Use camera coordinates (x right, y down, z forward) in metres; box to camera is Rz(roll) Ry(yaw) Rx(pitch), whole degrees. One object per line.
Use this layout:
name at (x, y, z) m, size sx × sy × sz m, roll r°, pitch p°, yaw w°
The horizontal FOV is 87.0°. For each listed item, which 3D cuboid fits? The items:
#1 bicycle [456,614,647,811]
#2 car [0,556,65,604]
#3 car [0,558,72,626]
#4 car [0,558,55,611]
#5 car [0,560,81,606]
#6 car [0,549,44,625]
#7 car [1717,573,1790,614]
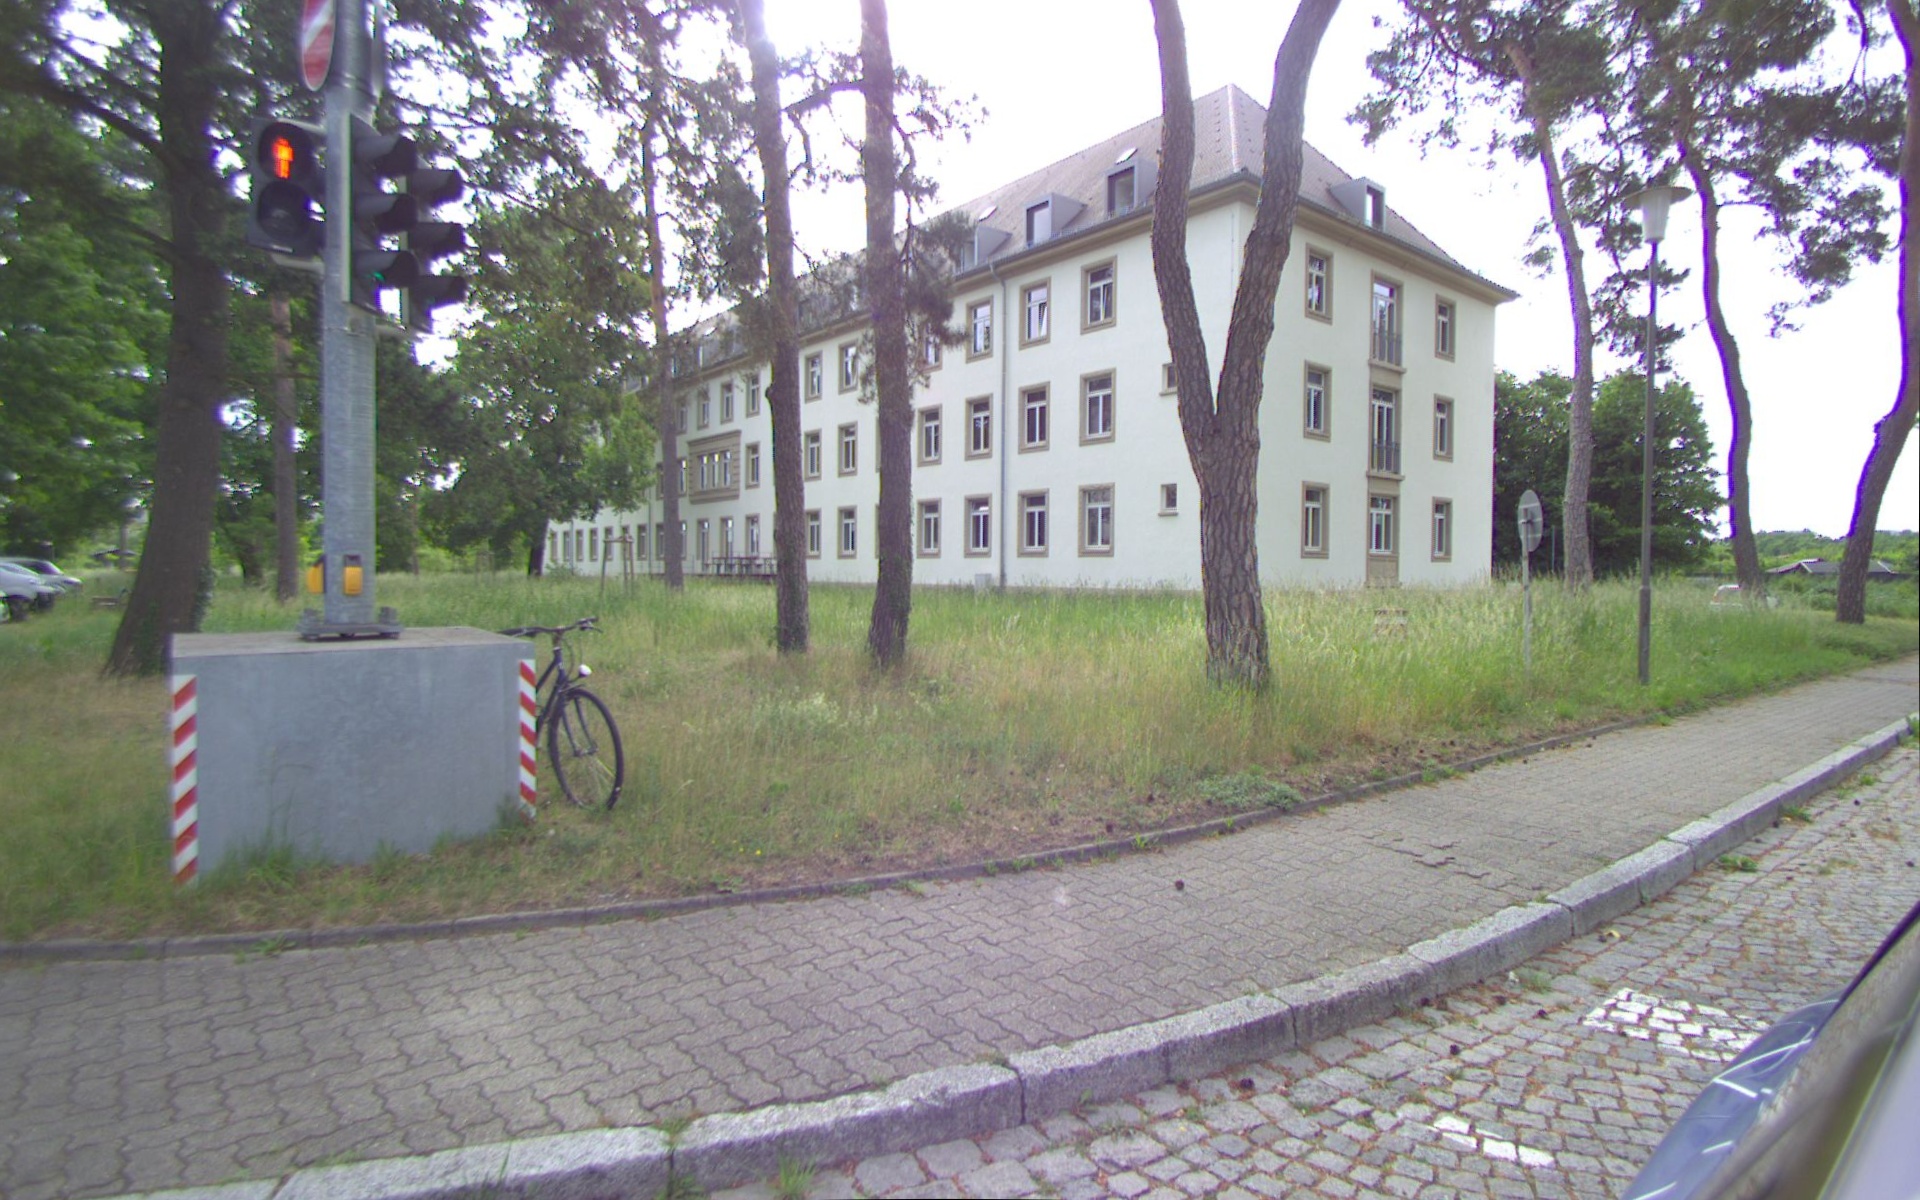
bicycle at (-2.382, 0.563, 5.784) m, size 0.562 × 0.885 × 1.704 m, roll -1°, pitch 2°, yaw -38°
car at (-37.158, -0.757, 38.435) m, size 4.611 × 1.795 × 1.998 m, roll -1°, pitch 2°, yaw -39°
car at (-23.195, -0.190, 23.408) m, size 3.859 × 1.549 × 1.862 m, roll -1°, pitch 2°, yaw -38°
car at (-31.223, -0.491, 31.863) m, size 3.928 × 1.638 × 1.998 m, roll -1°, pitch 2°, yaw -39°
car at (-34.621, -0.625, 36.380) m, size 4.435 × 1.638 × 1.998 m, roll -1°, pitch 2°, yaw -39°
car at (-26.282, -0.330, 25.220) m, size 2.226 × 1.933 × 4.801 m, roll 1°, pitch 2°, yaw 35°
car at (32.241, -0.302, 41.096) m, size 3.220 × 1.451 × 1.641 m, roll -4°, pitch 4°, yaw -39°
